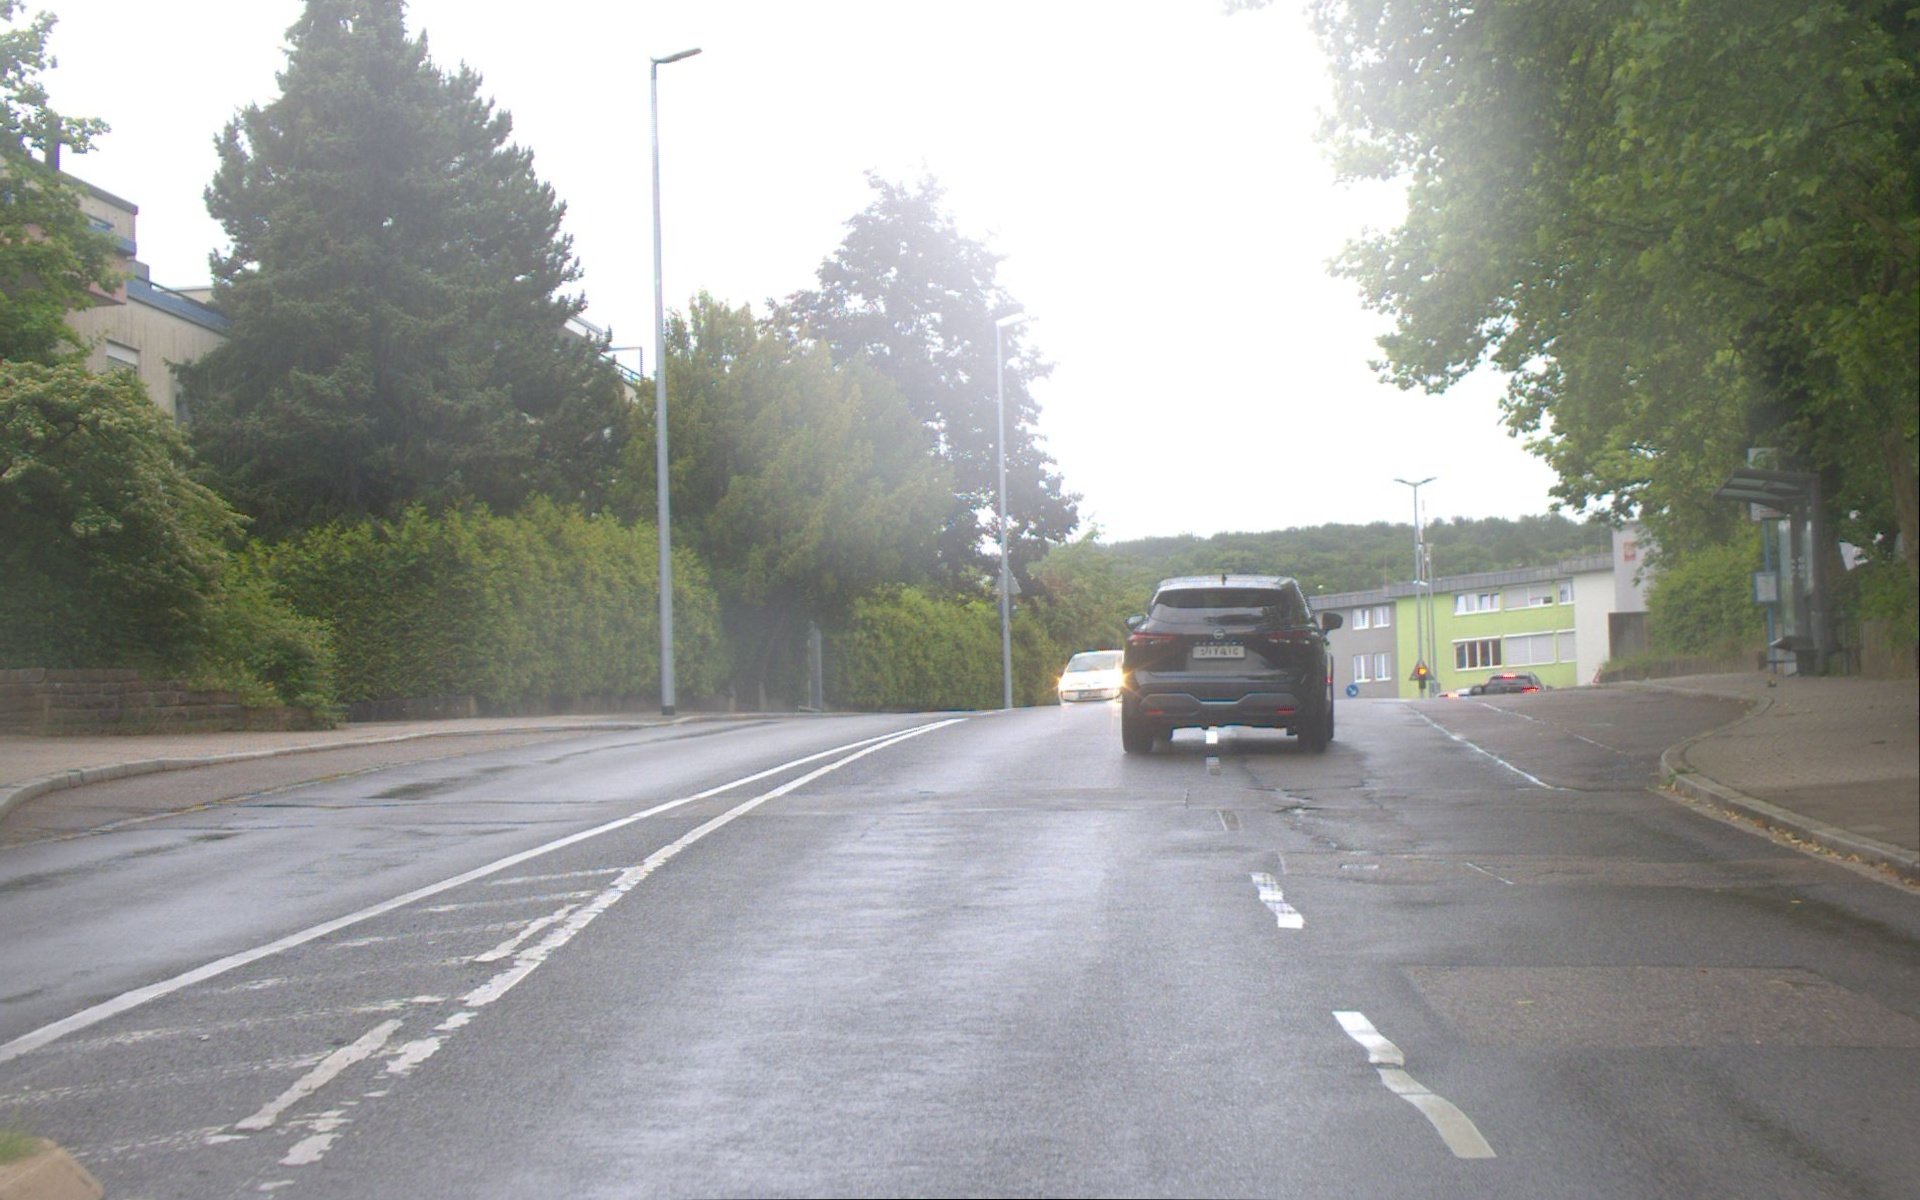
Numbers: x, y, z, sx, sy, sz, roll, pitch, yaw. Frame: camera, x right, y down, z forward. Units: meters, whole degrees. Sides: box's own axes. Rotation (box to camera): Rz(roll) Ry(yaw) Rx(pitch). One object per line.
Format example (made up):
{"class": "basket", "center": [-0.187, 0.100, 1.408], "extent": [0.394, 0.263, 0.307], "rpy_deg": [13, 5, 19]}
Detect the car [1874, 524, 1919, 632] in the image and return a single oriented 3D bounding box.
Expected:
{"class": "car", "center": [21.245, -0.478, 73.339], "extent": [2.044, 2.276, 5.018], "rpy_deg": [0, 0, -1]}

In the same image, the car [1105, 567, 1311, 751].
{"class": "car", "center": [2.303, 0.501, 32.074], "extent": [1.790, 1.598, 4.252], "rpy_deg": [0, 0, 4]}

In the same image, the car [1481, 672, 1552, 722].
{"class": "car", "center": [16.417, 2.851, 101.504], "extent": [1.994, 1.437, 3.998], "rpy_deg": [0, -2, 9]}

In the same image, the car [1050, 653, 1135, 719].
{"class": "car", "center": [3.105, 1.982, 79.884], "extent": [1.685, 1.449, 3.397], "rpy_deg": [-1, -1, 7]}
